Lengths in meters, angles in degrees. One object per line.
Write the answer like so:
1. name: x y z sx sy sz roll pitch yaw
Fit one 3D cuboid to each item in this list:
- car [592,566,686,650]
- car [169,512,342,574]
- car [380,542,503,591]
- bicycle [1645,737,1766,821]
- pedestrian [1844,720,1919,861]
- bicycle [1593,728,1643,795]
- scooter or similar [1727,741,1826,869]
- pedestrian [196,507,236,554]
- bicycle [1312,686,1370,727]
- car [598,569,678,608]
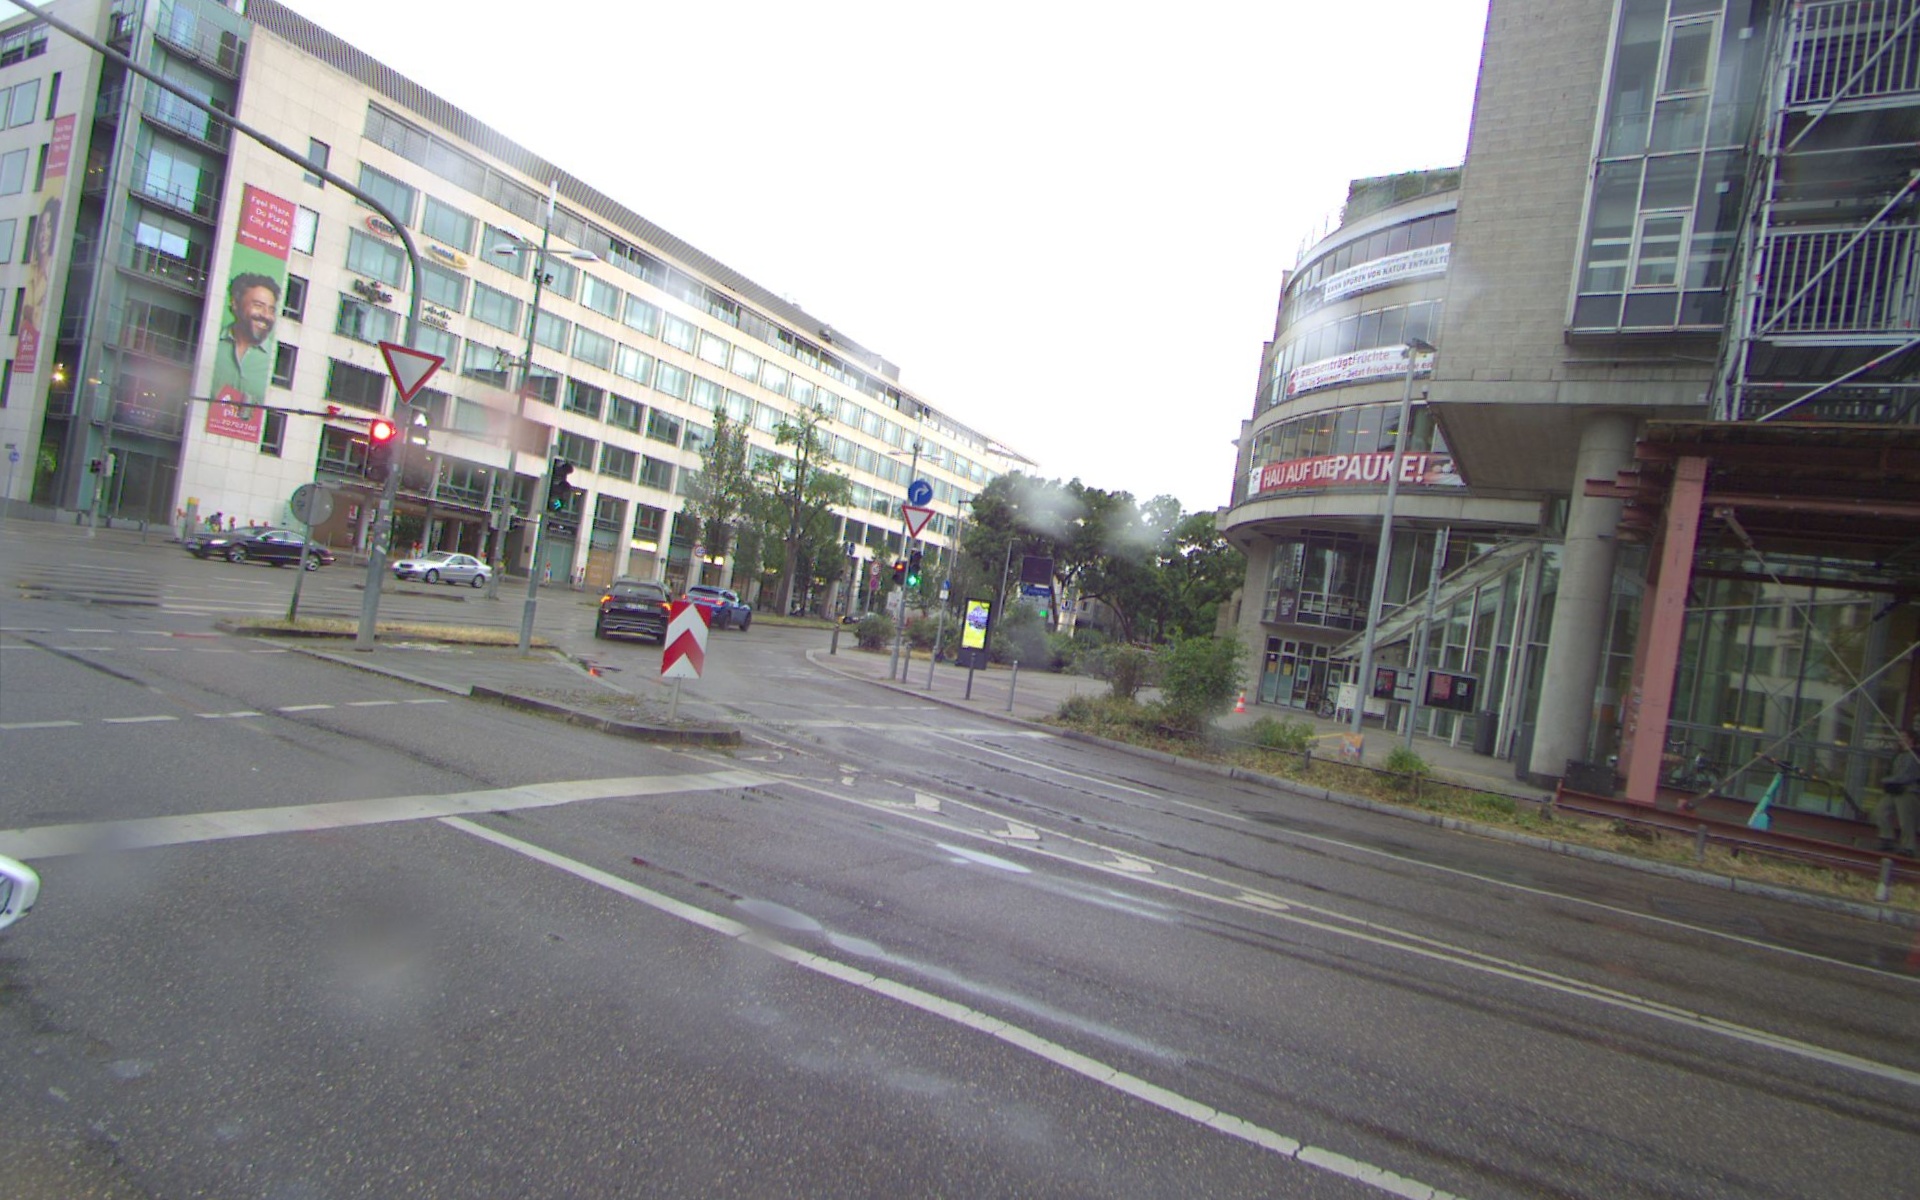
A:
1. car: -8.173 0.156 25.527 1.908 1.715 3.984 8 -1 -19
2. car: -25.356 -2.004 36.464 1.962 1.494 4.869 6 -3 17
3. car: -22.701 -1.439 44.293 1.962 1.494 4.739 6 -3 17
4. bicycle: 13.481 3.228 18.227 1.584 1.208 0.587 7 -1 6
5. pedestrian: 12.983 2.617 13.865 0.776 1.796 0.781 7 -1 13
6. bicycle: 13.604 3.312 20.828 0.576 1.208 1.614 7 -2 27
7. scooter or similar: 9.217 2.272 11.416 0.577 1.208 1.780 7 -1 34
8. pedestrian: -32.074 -2.987 43.373 0.822 1.838 0.963 6 -1 31
9. bicycle: 13.449 3.752 35.529 1.753 1.208 0.586 6 -1 29
10. car: -18.506 -0.634 58.087 1.798 1.627 4.491 7 -2 22
